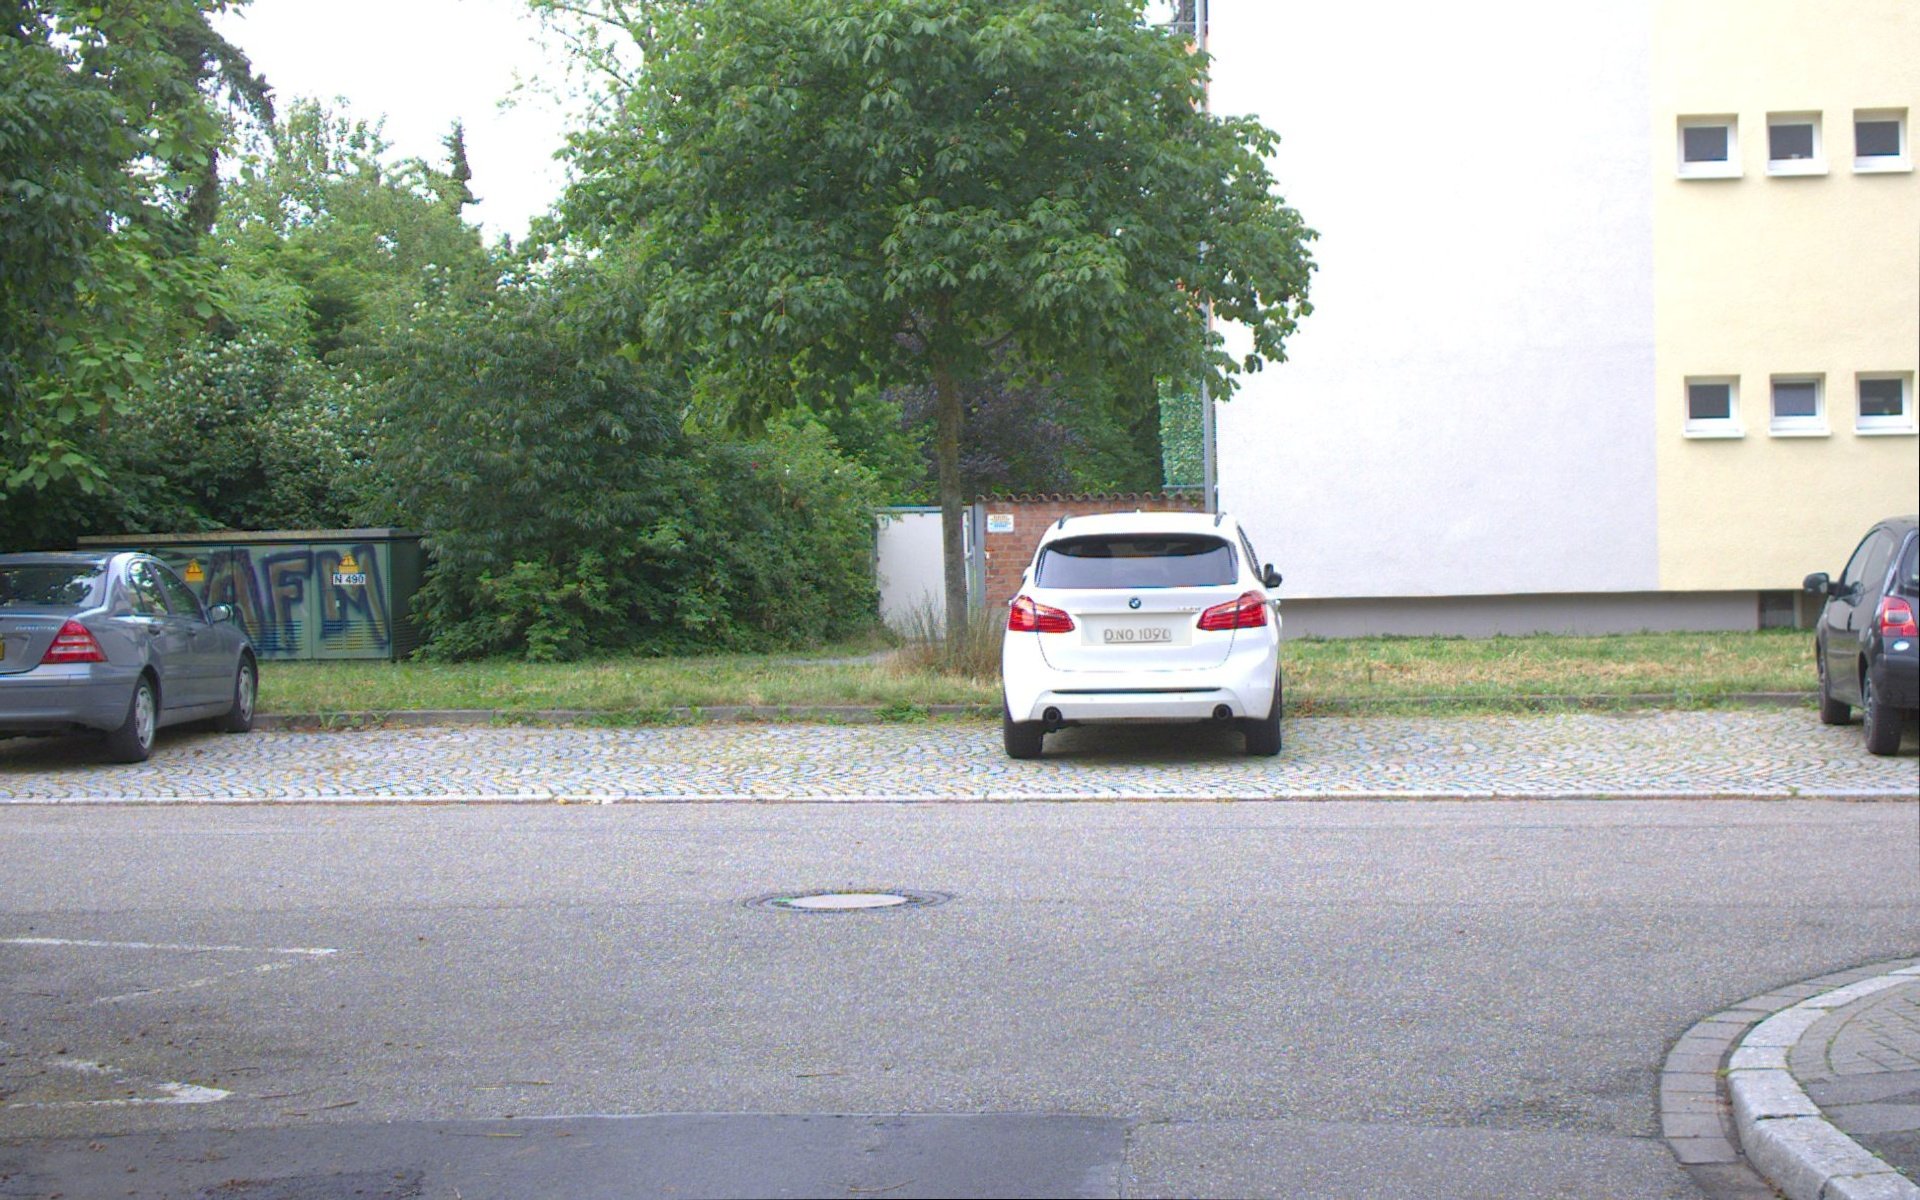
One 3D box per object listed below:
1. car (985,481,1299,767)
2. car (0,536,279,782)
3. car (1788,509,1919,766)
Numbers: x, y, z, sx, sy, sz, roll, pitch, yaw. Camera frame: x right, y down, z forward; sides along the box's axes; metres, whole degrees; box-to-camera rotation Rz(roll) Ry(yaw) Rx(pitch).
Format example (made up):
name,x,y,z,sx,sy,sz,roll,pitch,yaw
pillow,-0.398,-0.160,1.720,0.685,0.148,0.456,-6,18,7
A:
name,x,y,z,sx,sy,sz,roll,pitch,yaw
car,1.325,0.075,23.412,1.879,1.555,4.149,1,5,7
car,-6.184,0.343,24.247,1.675,1.449,4.560,-1,2,2
car,6.614,0.169,22.972,1.836,1.458,4.559,0,3,10
